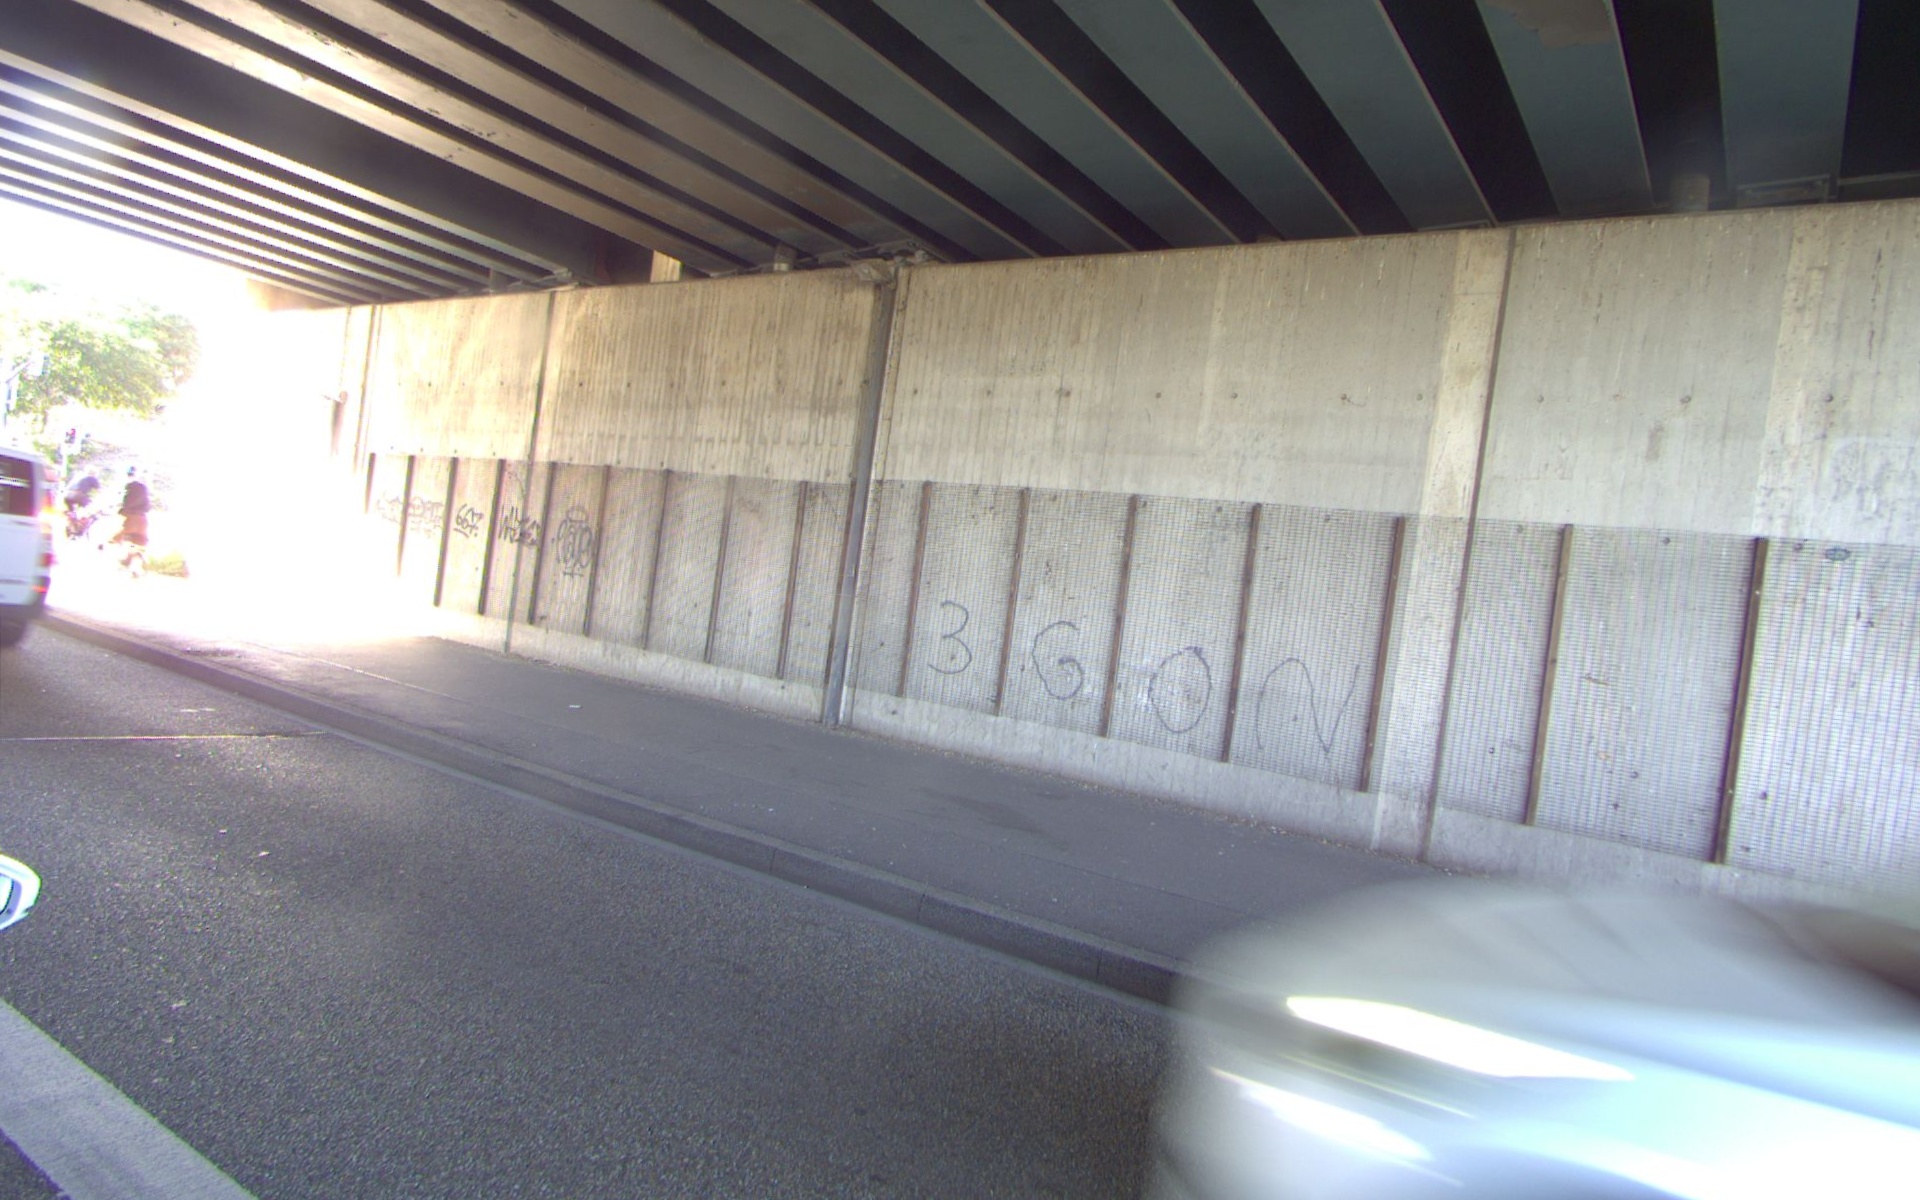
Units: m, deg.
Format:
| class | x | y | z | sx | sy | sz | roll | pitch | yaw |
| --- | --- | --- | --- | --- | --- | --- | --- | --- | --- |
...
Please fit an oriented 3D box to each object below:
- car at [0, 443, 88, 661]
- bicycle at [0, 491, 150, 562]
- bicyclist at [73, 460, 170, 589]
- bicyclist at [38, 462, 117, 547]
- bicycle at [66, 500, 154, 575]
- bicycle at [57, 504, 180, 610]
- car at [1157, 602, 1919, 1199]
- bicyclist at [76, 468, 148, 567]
| class | x | y | z | sx | sy | sz | roll | pitch | yaw |
| --- | --- | --- | --- | --- | --- | --- | --- | --- | --- |
| car | -10.559 | -0.711 | 9.485 | 4.752 | 1.857 | 1.902 | 7 | -1 | 29 |
| bicycle | -19.485 | -1.581 | 22.157 | 0.753 | 1.159 | 2.471 | 7 | -1 | 16 |
| bicyclist | -10.876 | -0.973 | 13.045 | 0.832 | 1.554 | 0.653 | 7 | 2 | 30 |
| bicyclist | -19.424 | -2.086 | 22.155 | 0.735 | 1.674 | 0.887 | 7 | -1 | 15 |
| bicycle | -14.735 | -1.096 | 17.436 | 1.578 | 1.126 | 0.681 | 6 | 0 | 34 |
| bicycle | -10.958 | -0.565 | 13.085 | 1.748 | 1.183 | 0.651 | 8 | 3 | 31 |
| car | 2.759 | 1.101 | 1.751 | 4.343 | 1.569 | 1.999 | 7 | -2 | 27 |
| bicyclist | -14.685 | -1.423 | 17.427 | 0.723 | 1.581 | 0.670 | 7 | 0 | 34 |
